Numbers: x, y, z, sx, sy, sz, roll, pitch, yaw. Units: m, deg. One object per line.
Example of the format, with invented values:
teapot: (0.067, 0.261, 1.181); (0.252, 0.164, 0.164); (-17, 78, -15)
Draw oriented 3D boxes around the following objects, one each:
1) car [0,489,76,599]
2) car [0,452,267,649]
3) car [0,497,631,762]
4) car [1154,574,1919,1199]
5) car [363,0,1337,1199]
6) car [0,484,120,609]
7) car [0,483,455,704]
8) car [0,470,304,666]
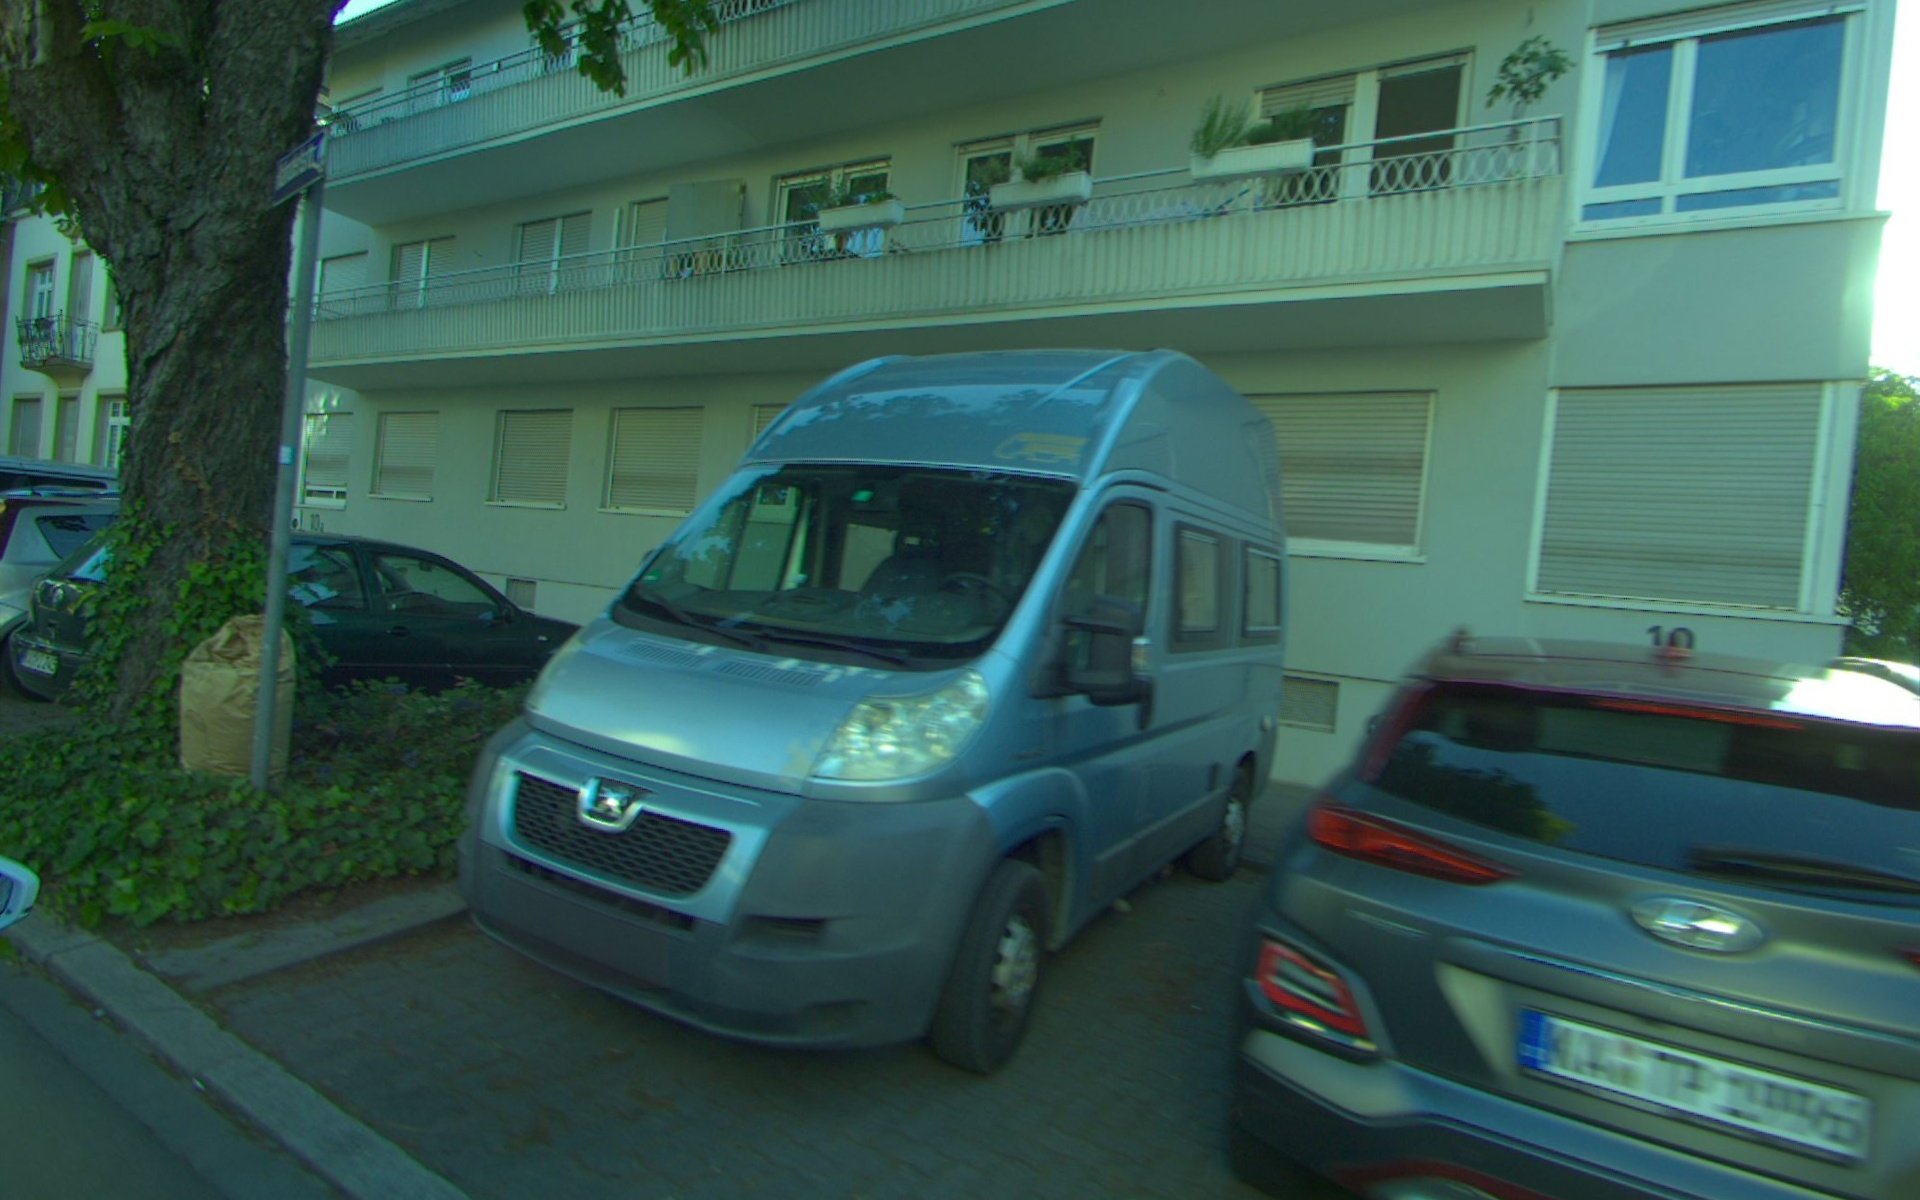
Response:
car: (-16.484, -1.035, 15.204); (1.677, 1.704, 4.335); (7, 1, 31)
car: (-10.953, -0.614, 11.532); (1.864, 2.038, 4.477); (6, -1, 30)
car: (-4.585, 0.236, 7.595); (1.729, 1.448, 3.726); (4, -1, 30)
car: (2.259, 0.891, 3.561); (1.729, 1.589, 4.192); (6, 1, 30)
car: (0.242, 0.038, 5.094); (2.041, 2.939, 5.101); (6, 0, 30)
car: (-14.623, -0.890, 14.156); (1.678, 1.704, 3.949); (7, 1, 34)
car: (-6.768, -0.006, 8.924); (1.612, 1.573, 3.726); (5, -1, 30)
car: (-9.131, -0.320, 9.835); (1.734, 1.745, 4.186); (5, -1, 24)
